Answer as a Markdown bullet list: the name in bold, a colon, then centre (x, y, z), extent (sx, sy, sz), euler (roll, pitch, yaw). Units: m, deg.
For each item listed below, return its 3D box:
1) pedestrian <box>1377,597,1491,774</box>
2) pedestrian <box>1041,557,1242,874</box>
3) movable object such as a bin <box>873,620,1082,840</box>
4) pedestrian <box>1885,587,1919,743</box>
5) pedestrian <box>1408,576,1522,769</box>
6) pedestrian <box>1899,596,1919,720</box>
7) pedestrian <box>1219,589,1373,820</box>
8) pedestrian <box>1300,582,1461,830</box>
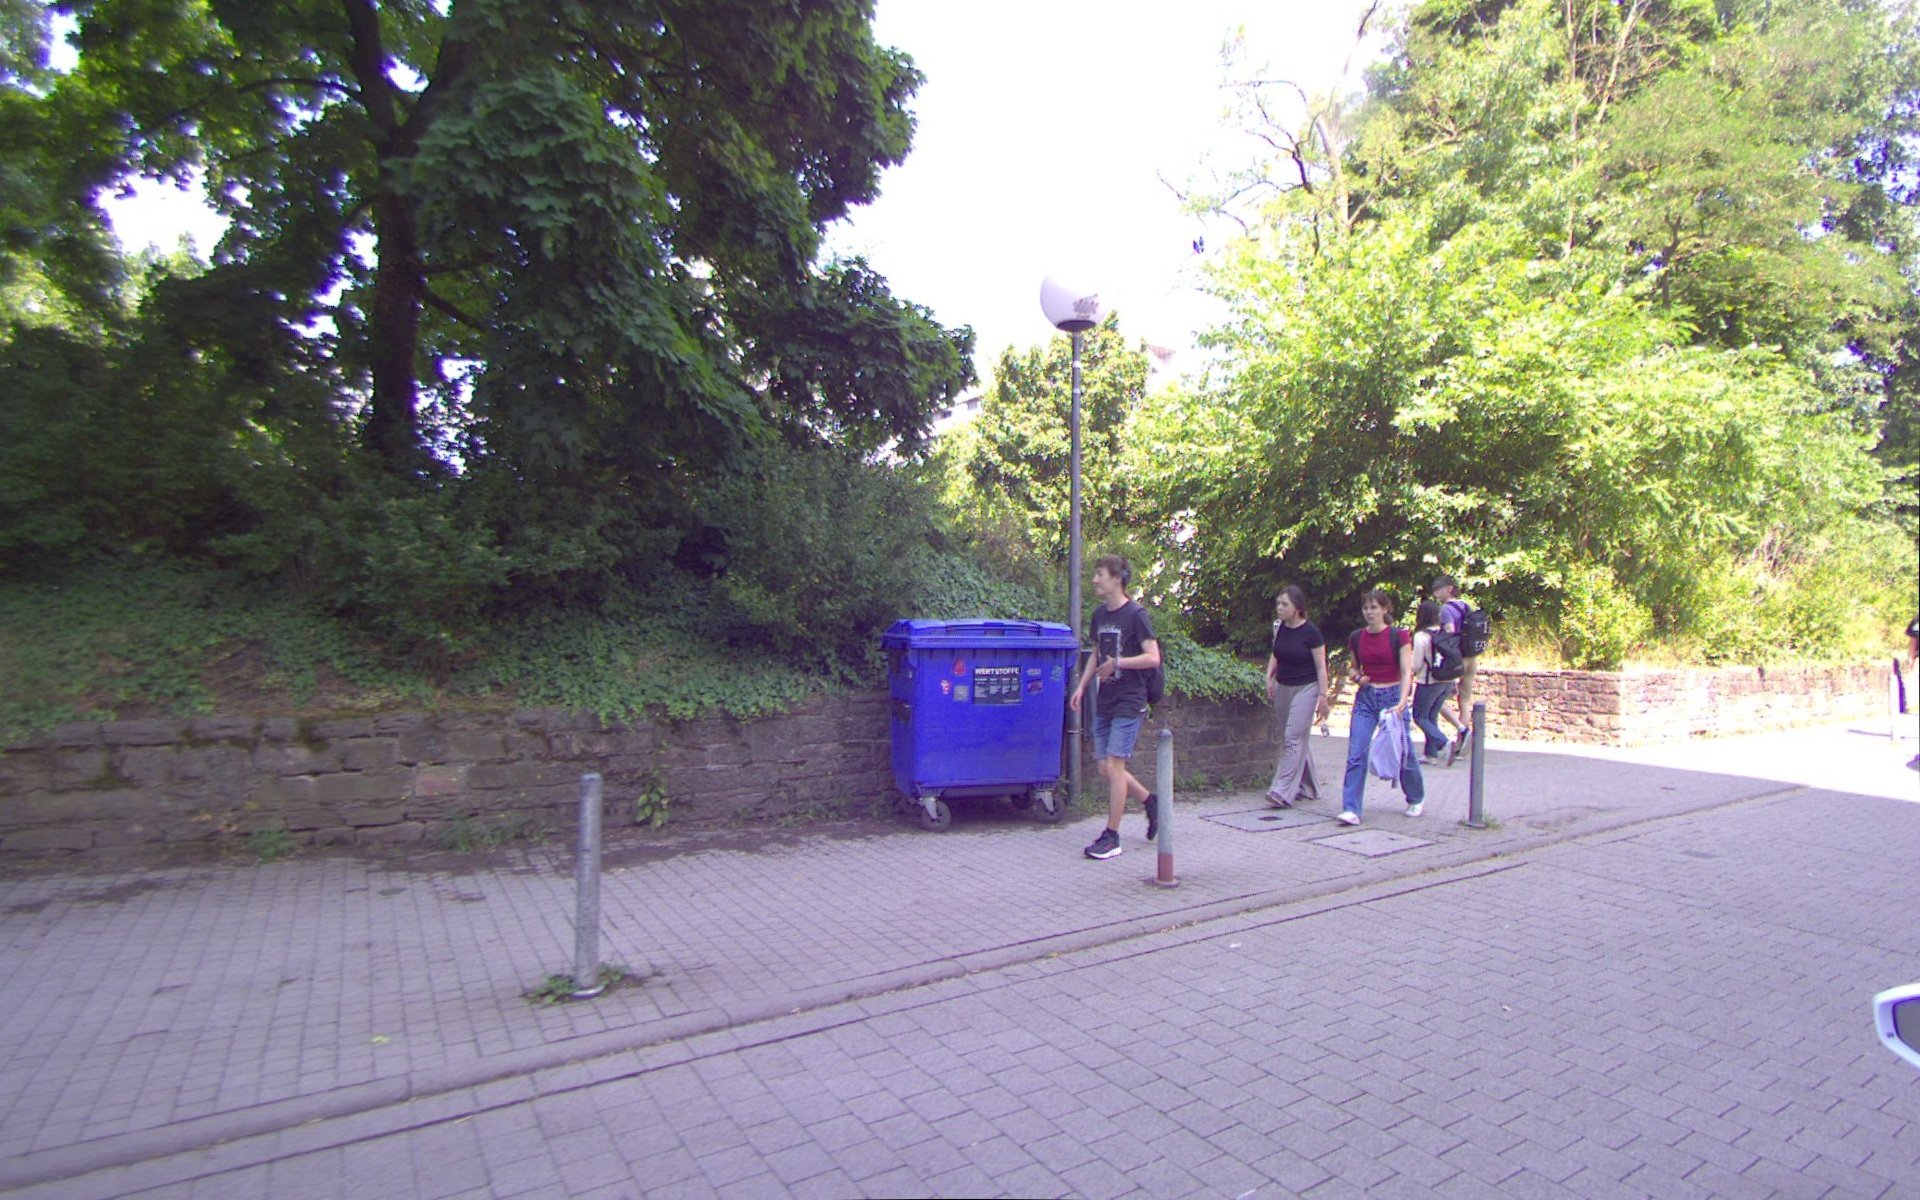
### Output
- **pedestrian**: centre (4.641, 0.810, 9.851), extent (0.678, 1.642, 0.775), euler (2, -2, -35)
- **pedestrian**: centre (1.112, 0.654, 6.131), extent (1.011, 1.751, 0.677), euler (2, -1, -37)
- **movable object such as a bin**: centre (0.108, 0.834, 6.870), extent (1.221, 1.354, 0.707), euler (1, 1, -23)
- **pedestrian**: centre (11.787, 0.786, 12.168), extent (0.775, 1.868, 0.678), euler (2, -1, -33)
- **pedestrian**: centre (5.151, 0.719, 10.260), extent (0.678, 1.868, 0.820), euler (2, -2, -35)
- **pedestrian**: centre (14.903, 0.892, 15.315), extent (0.775, 1.868, 0.678), euler (2, -1, -33)
- **pedestrian**: centre (2.592, 0.760, 7.735), extent (0.970, 1.642, 0.677), euler (2, -1, -37)
- **pedestrian**: centre (3.008, 0.713, 7.182), extent (0.905, 1.642, 0.677), euler (2, -1, -37)
